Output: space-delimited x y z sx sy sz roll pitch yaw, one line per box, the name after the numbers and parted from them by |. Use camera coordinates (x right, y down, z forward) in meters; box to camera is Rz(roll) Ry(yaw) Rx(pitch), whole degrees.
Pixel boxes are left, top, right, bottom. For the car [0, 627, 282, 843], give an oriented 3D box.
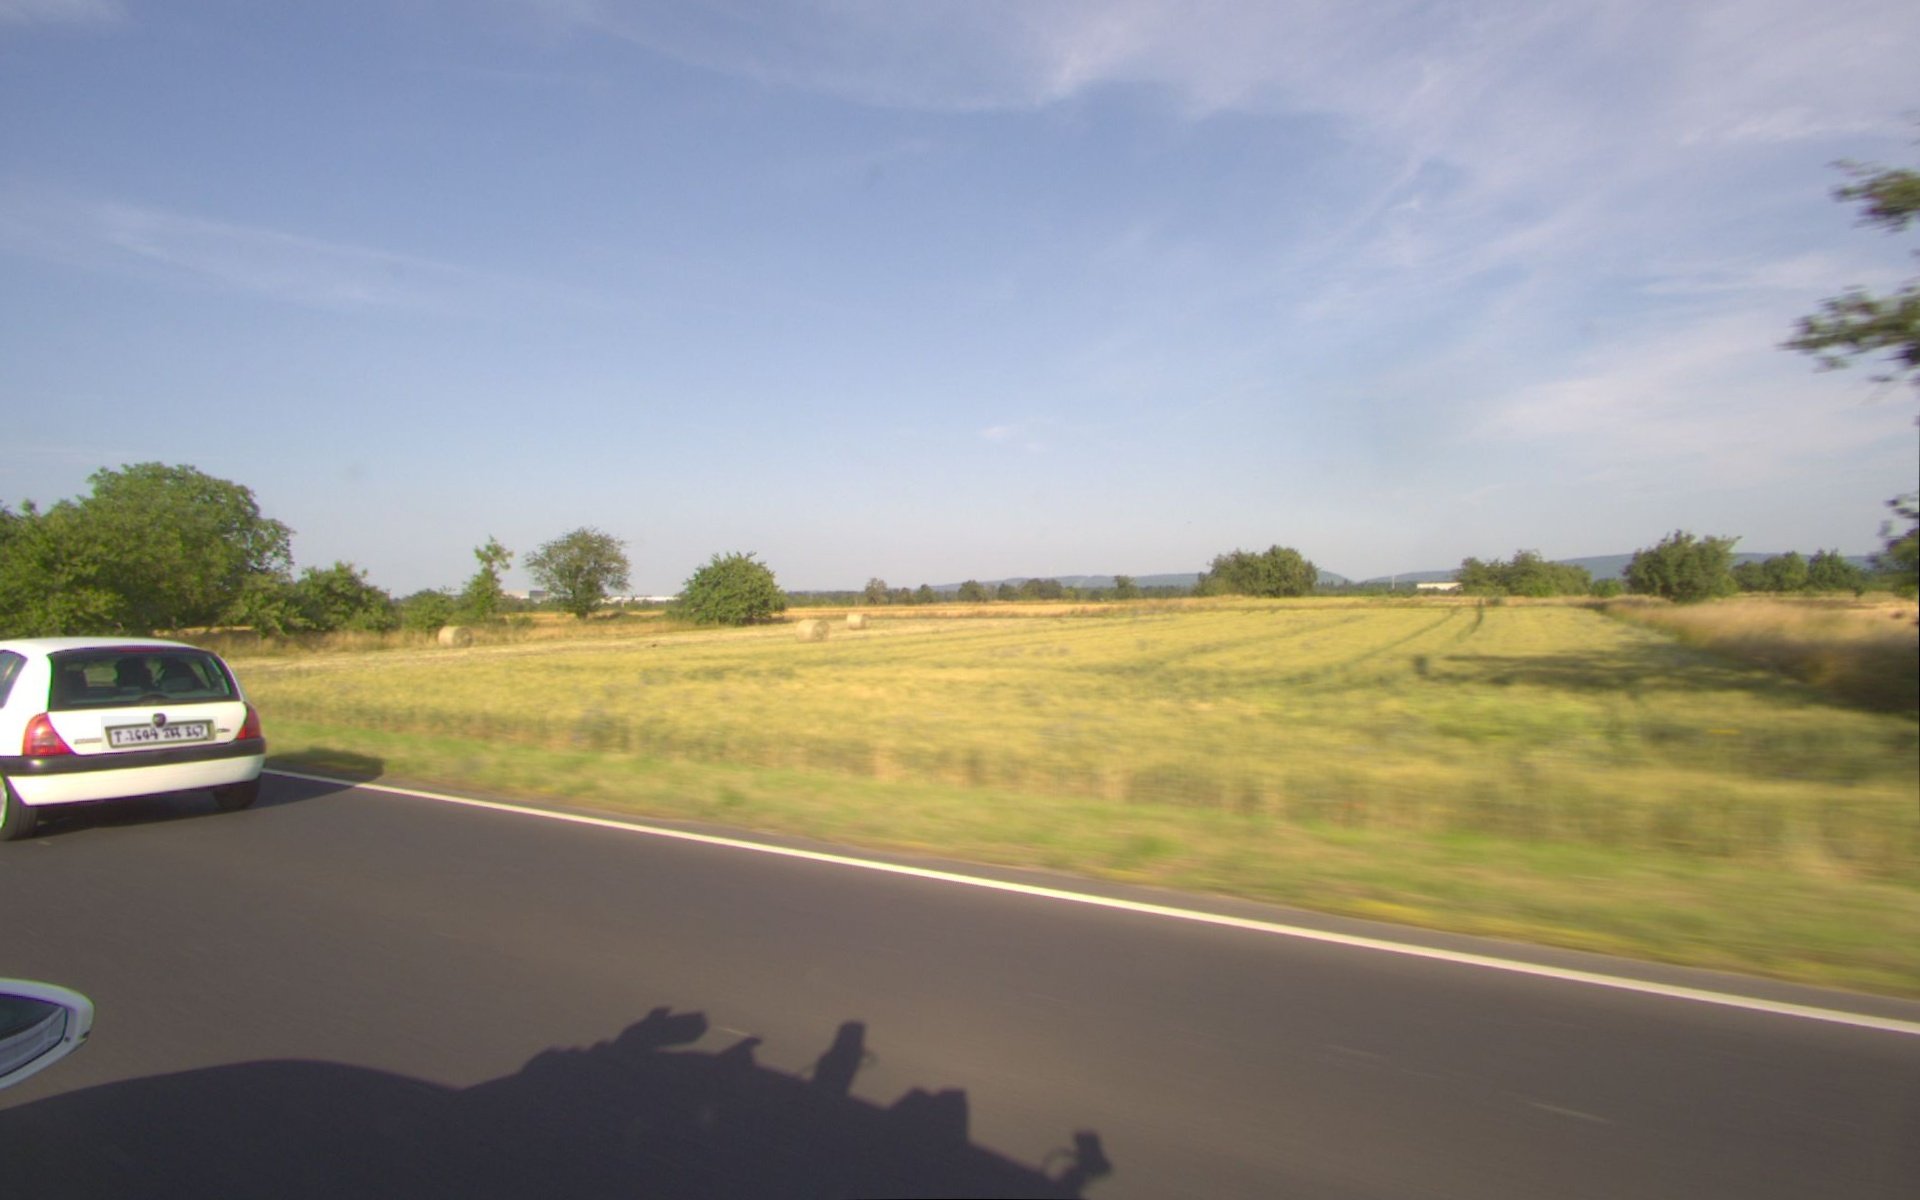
-7.411 0.952 8.263 3.896 1.405 1.614 -2 -2 33 | car
